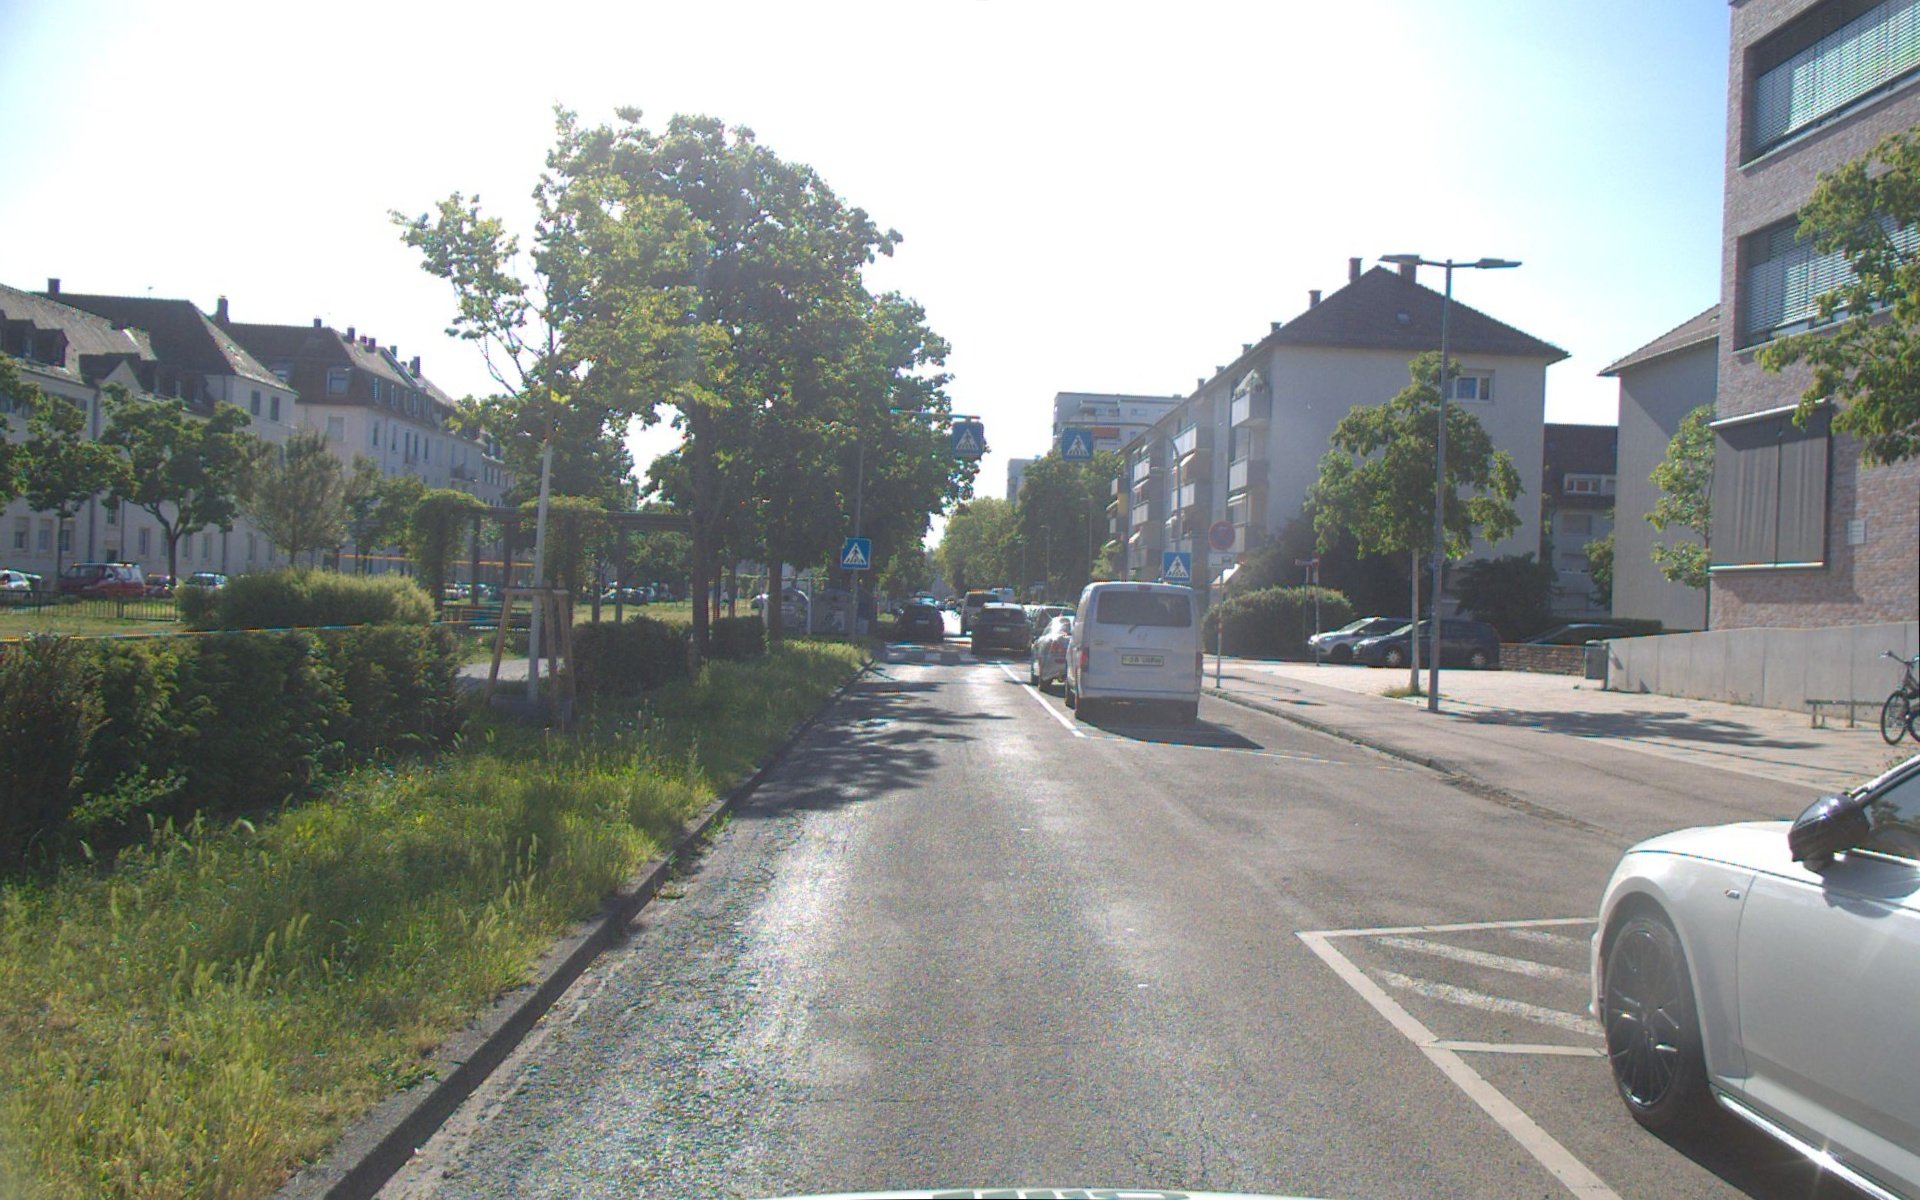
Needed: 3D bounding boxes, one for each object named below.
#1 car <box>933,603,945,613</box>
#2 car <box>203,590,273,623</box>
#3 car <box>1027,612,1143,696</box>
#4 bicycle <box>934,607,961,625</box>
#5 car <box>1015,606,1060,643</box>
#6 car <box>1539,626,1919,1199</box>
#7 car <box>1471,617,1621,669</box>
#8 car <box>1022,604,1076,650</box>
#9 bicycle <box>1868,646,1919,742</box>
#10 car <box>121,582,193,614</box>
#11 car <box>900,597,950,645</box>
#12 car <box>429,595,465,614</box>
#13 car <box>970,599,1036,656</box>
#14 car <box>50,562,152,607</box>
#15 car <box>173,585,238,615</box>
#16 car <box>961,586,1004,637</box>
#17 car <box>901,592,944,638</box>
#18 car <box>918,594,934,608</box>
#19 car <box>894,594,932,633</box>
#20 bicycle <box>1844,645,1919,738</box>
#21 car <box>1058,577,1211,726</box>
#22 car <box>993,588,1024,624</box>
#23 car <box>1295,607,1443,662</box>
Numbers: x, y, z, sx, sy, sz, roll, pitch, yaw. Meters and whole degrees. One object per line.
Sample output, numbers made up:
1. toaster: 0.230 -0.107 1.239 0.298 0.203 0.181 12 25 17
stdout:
1. car: -3.084 1.170 248.339 1.758 1.537 3.999 1 0 -1
2. car: -36.265 0.319 83.191 1.758 1.536 3.999 2 0 -1
3. car: 2.231 0.953 30.462 1.729 1.342 4.167 3 -1 -1
4. bicycle: -1.064 1.369 141.722 2.277 1.567 0.630 1 -1 -5
5. car: 3.435 1.089 73.920 1.758 1.536 3.999 2 0 -1
6. car: 2.982 0.832 3.495 1.758 1.445 4.656 2 0 -2
7. car: 19.644 1.448 55.535 4.391 1.567 1.798 2 -2 -4
8. car: 3.391 1.026 63.839 1.758 1.629 3.999 3 0 -1
9. bicycle: 12.004 1.123 20.052 1.758 1.127 0.500 0 0 -4
10. car: -41.471 -0.099 85.546 1.758 1.536 3.999 2 0 -1
11. car: -1.278 0.762 61.472 1.758 1.652 3.999 3 0 -1
12. car: -42.946 0.357 138.466 1.758 1.536 3.999 2 0 -1
13. car: 1.231 0.789 49.124 1.758 1.536 3.999 2 0 -1
14. car: -35.646 -0.604 68.774 1.758 1.740 4.701 2 0 -1
15. car: -41.656 0.001 91.377 1.758 1.536 3.999 2 0 -1
16. car: 0.995 0.522 74.479 1.758 2.159 3.999 2 0 -1
17. car: -1.746 0.704 78.460 1.953 2.049 3.999 1 0 -1
18. car: -3.833 0.117 186.166 1.758 1.537 3.999 1 0 -1
19. car: -2.527 0.747 90.305 1.953 2.049 3.999 1 0 -1
20. bicycle: 11.989 1.124 20.571 1.758 1.127 0.500 0 0 -4
21. car: 2.426 0.682 23.939 1.757 1.887 4.413 2 0 1
22. car: 3.597 0.438 122.241 1.953 2.472 4.499 4 0 -1
23. car: 13.529 1.153 54.849 4.391 1.651 1.798 2 -2 -4
